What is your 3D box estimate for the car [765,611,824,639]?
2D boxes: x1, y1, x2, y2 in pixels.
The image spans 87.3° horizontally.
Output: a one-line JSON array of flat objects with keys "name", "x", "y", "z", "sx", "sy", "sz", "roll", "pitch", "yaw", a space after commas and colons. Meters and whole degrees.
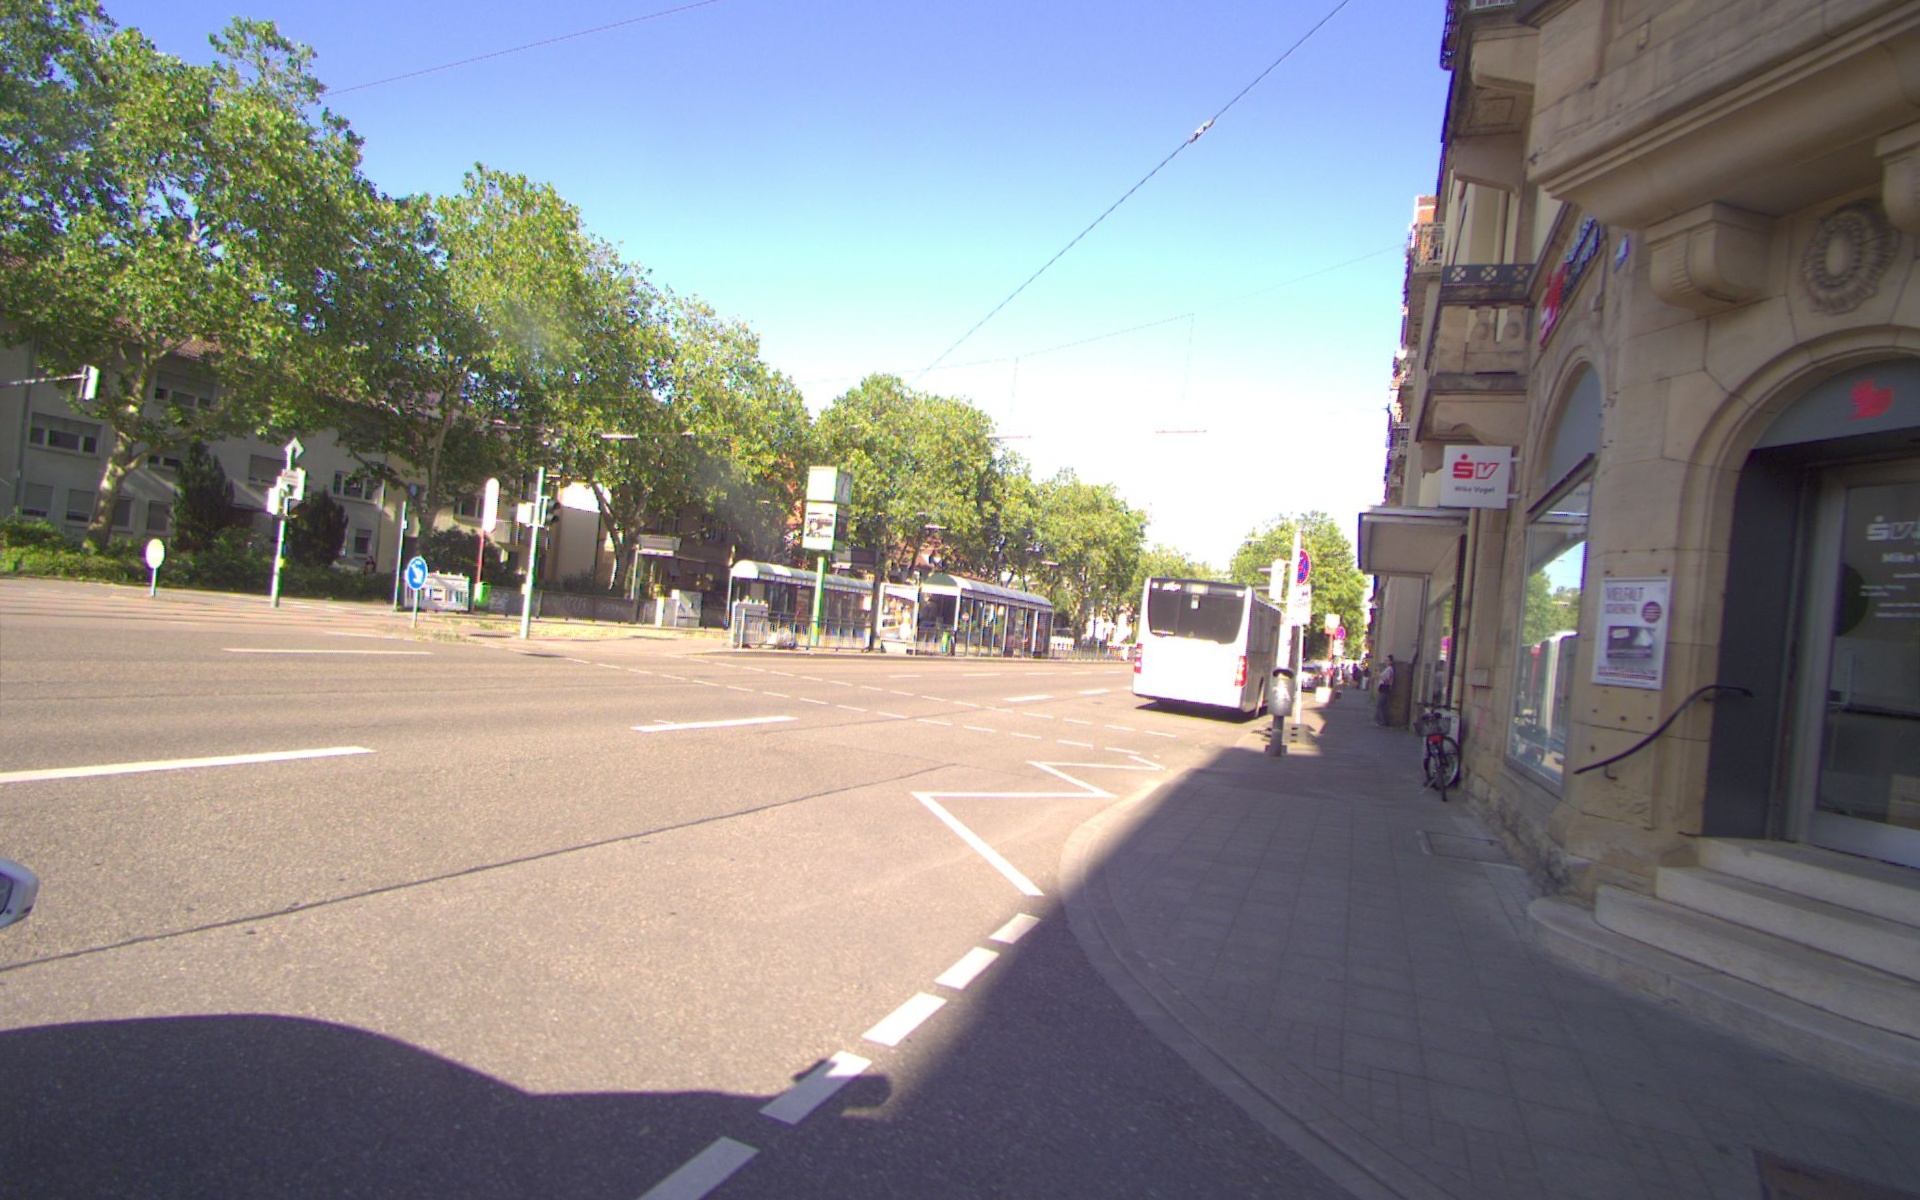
[{"name": "car", "x": -11.620, "y": 1.781, "z": 70.825, "sx": 1.800, "sy": 1.424, "sz": 3.881, "roll": 5, "pitch": -4, "yaw": 34}]

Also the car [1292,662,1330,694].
[{"name": "car", "x": 18.716, "y": 4.121, "z": 53.627, "sx": 1.719, "sy": 1.437, "sz": 4.001, "roll": 6, "pitch": -1, "yaw": 19}]

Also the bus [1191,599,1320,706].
[{"name": "bus", "x": 11.139, "y": 1.988, "z": 36.927, "sx": 3.039, "sy": 3.053, "sz": 10.863, "roll": 6, "pitch": -1, "yaw": 23}]

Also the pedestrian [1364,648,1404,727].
[{"name": "pedestrian", "x": 10.300, "y": 2.121, "z": 24.443, "sx": 0.696, "sy": 1.825, "sz": 0.521, "roll": 6, "pitch": 0, "yaw": 26}]

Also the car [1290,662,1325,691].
[{"name": "car", "x": 20.268, "y": 4.413, "z": 58.723, "sx": 1.719, "sy": 1.437, "sz": 4.001, "roll": 6, "pitch": -1, "yaw": 19}]

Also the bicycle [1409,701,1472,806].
[{"name": "bicycle", "x": 5.478, "y": 1.708, "z": 11.532, "sx": 0.507, "sy": 0.987, "sz": 1.953, "roll": 3, "pitch": -2, "yaw": 23}]

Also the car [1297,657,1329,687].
[{"name": "car", "x": 25.921, "y": 5.278, "z": 73.842, "sx": 1.993, "sy": 1.917, "sz": 4.001, "roll": 6, "pitch": -1, "yaw": 20}]

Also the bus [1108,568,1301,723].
[{"name": "bus", "x": 6.970, "y": 1.292, "z": 27.011, "sx": 3.076, "sy": 3.070, "sz": 10.681, "roll": 6, "pitch": -1, "yaw": 23}]
